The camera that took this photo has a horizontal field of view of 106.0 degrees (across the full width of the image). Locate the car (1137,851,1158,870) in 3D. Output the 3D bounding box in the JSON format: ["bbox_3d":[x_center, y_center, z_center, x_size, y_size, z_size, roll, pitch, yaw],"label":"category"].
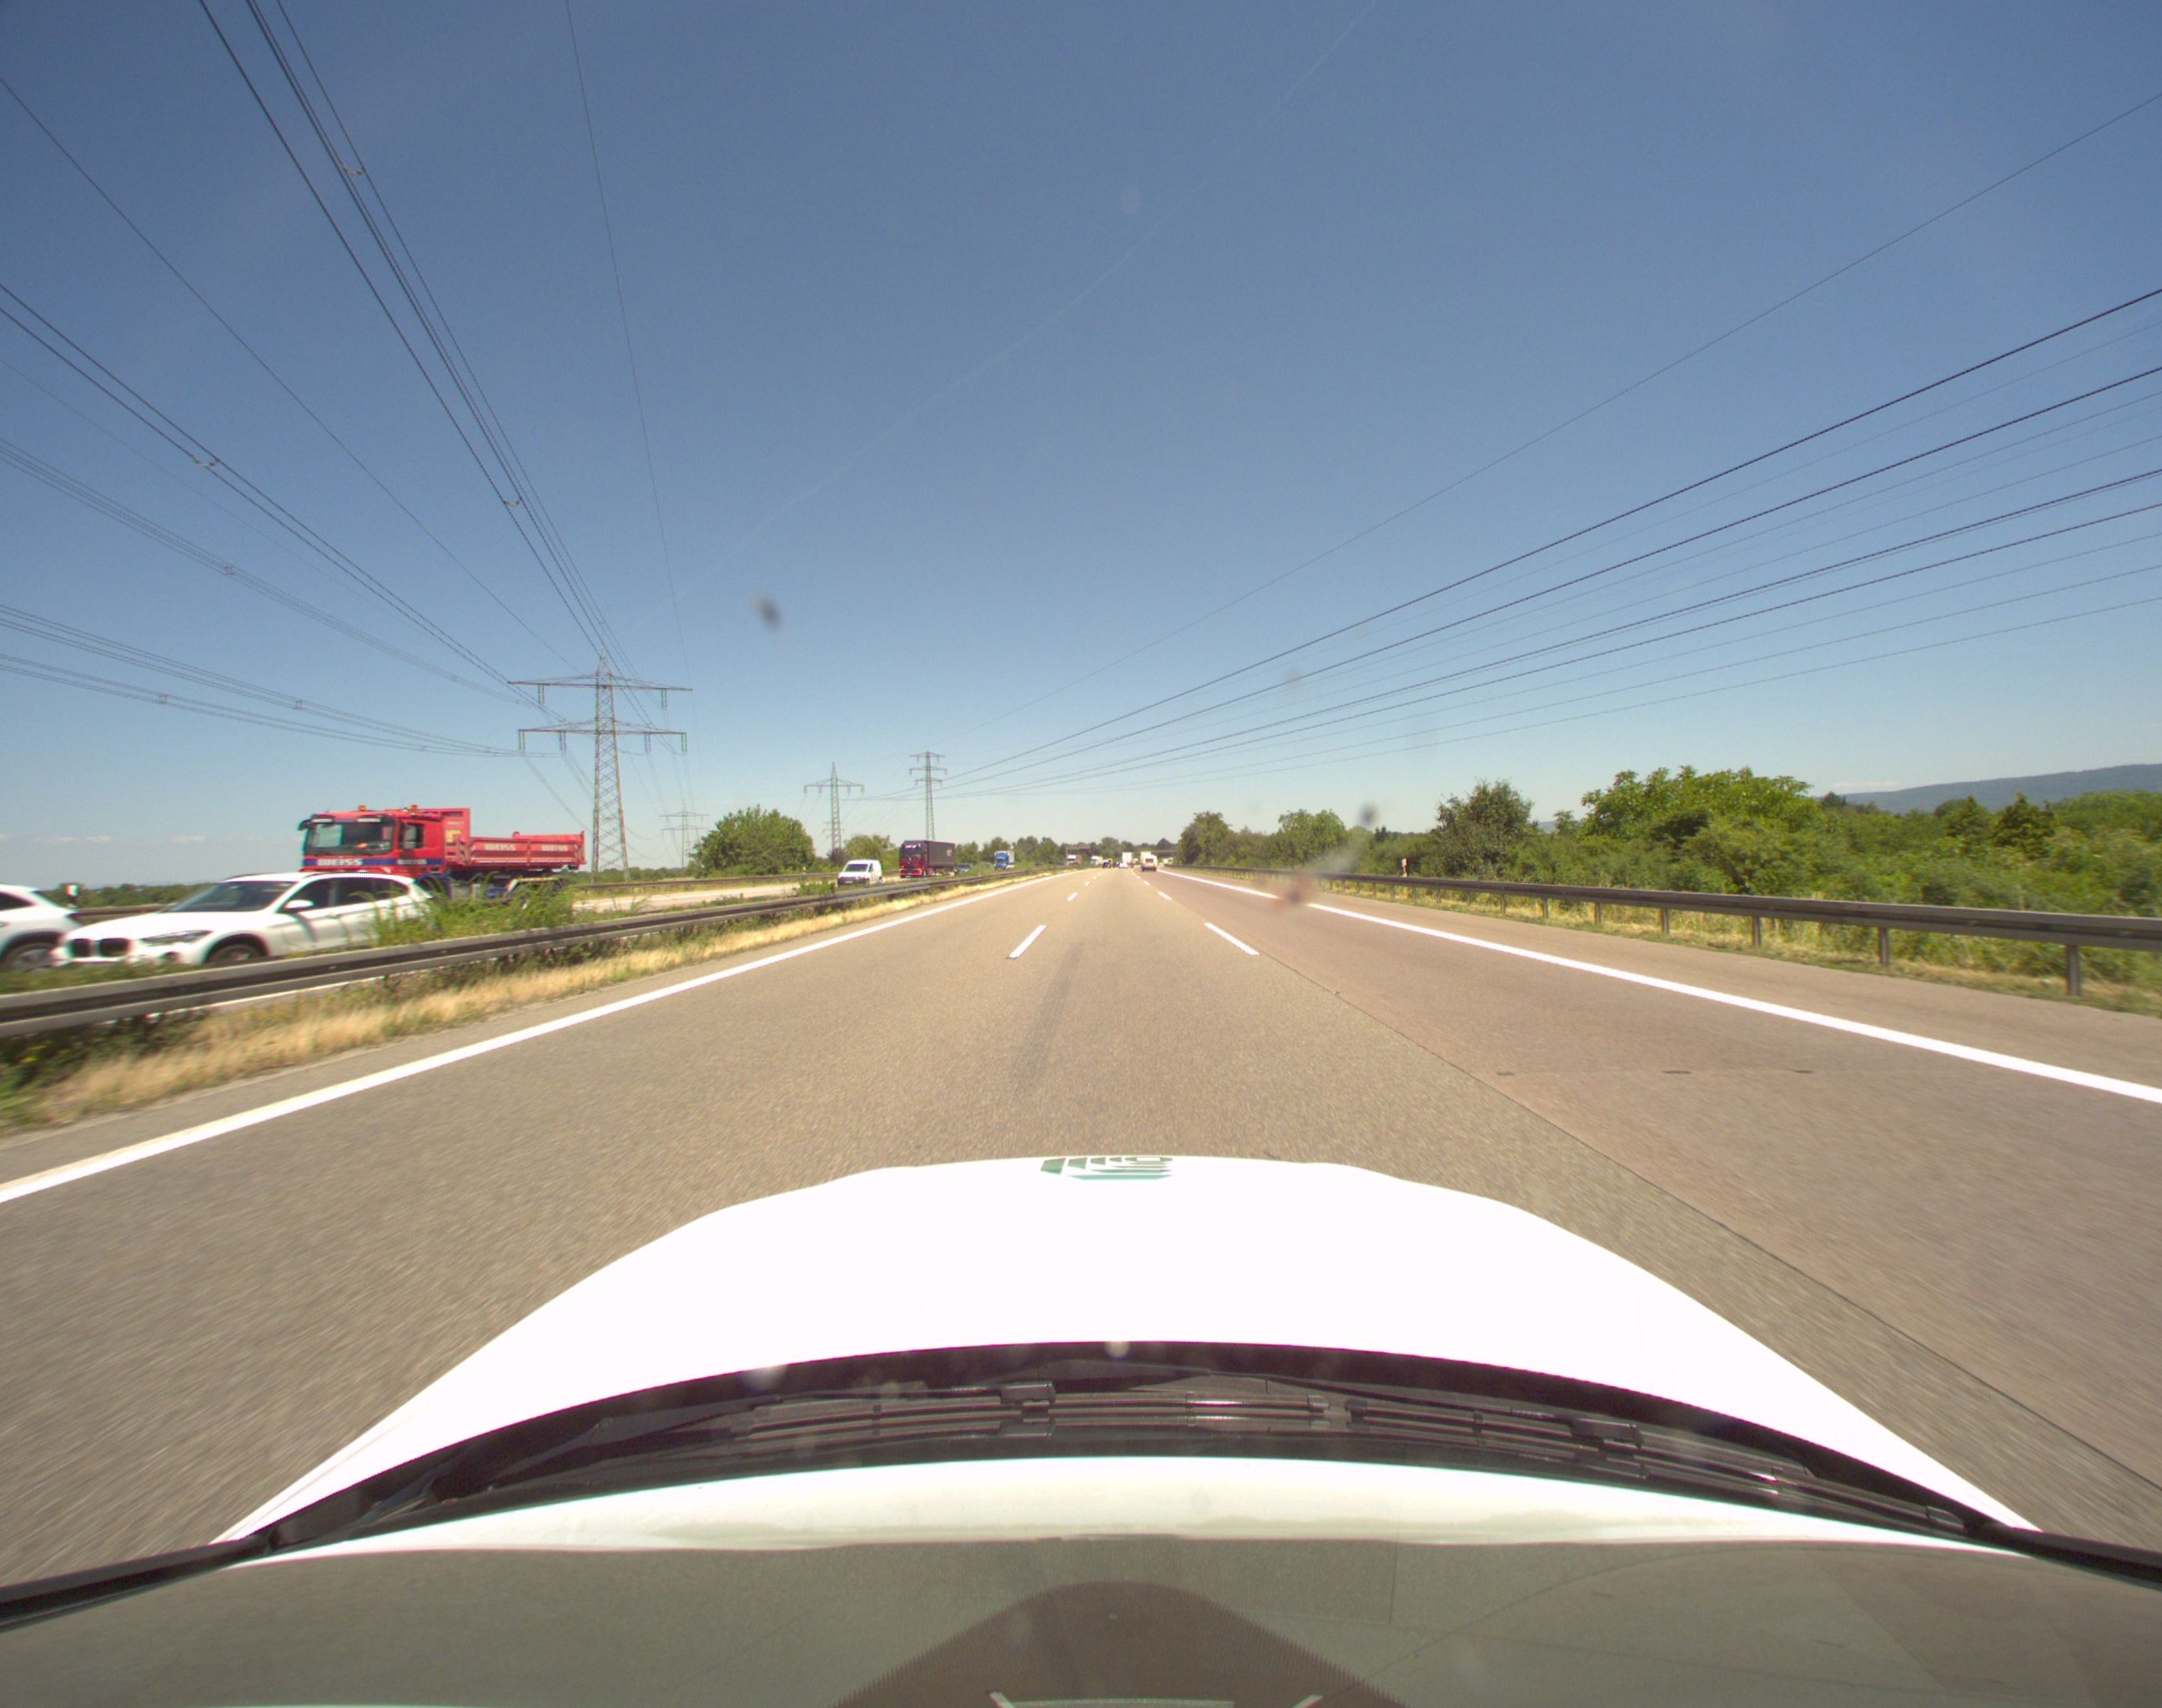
[{"bbox_3d":[8.940,0.827,109.346,2.433,2.321,5.323,-2,0,1],"label":"car"}]

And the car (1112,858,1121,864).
[{"bbox_3d":[9.798,1.936,224.705,1.816,1.547,4.332,0,0,11],"label":"car"}]

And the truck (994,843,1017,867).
[{"bbox_3d":[-13.251,0.143,143.903,2.444,3.976,9.677,-3,0,2],"label":"truck"}]

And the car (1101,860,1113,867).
[{"bbox_3d":[5.786,2.024,181.085,1.816,1.547,4.332,0,0,11],"label":"car"}]

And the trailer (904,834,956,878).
[{"bbox_3d":[-16.947,0.161,92.484,2.638,4.552,13.873,0,0,2],"label":"trailer"}]

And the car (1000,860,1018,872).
[{"bbox_3d":[-11.091,1.824,125.615,1.985,1.617,5.020,0,0,3],"label":"car"}]

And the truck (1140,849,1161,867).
[{"bbox_3d":[17.684,0.854,206.233,3.160,4.304,16.071,0,0,12],"label":"truck"}]

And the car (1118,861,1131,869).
[{"bbox_3d":[9.077,2.234,168.502,1.814,1.547,4.337,0,0,16],"label":"car"}]

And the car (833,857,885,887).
[{"bbox_3d":[-13.958,1.094,51.425,1.963,1.773,4.370,0,0,2],"label":"car"}]

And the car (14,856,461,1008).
[{"bbox_3d":[-12.269,0.983,12.437,1.986,1.853,4.536,0,0,2],"label":"car"}]

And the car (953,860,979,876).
[{"bbox_3d":[-12.775,1.527,91.043,1.936,1.617,5.020,0,0,3],"label":"car"}]

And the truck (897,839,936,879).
[{"bbox_3d":[-17.228,0.484,85.773,2.638,3.982,5.995,0,0,2],"label":"truck"}]

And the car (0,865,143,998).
[{"bbox_3d":[-15.643,1.075,10.391,1.986,1.761,4.536,0,0,2],"label":"car"}]

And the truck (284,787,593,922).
[{"bbox_3d":[-19.438,0.035,25.664,2.760,3.527,8.537,0,0,2],"label":"truck"}]

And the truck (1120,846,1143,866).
[{"bbox_3d":[13.406,0.480,213.597,3.642,5.018,16.069,0,0,12],"label":"truck"}]
